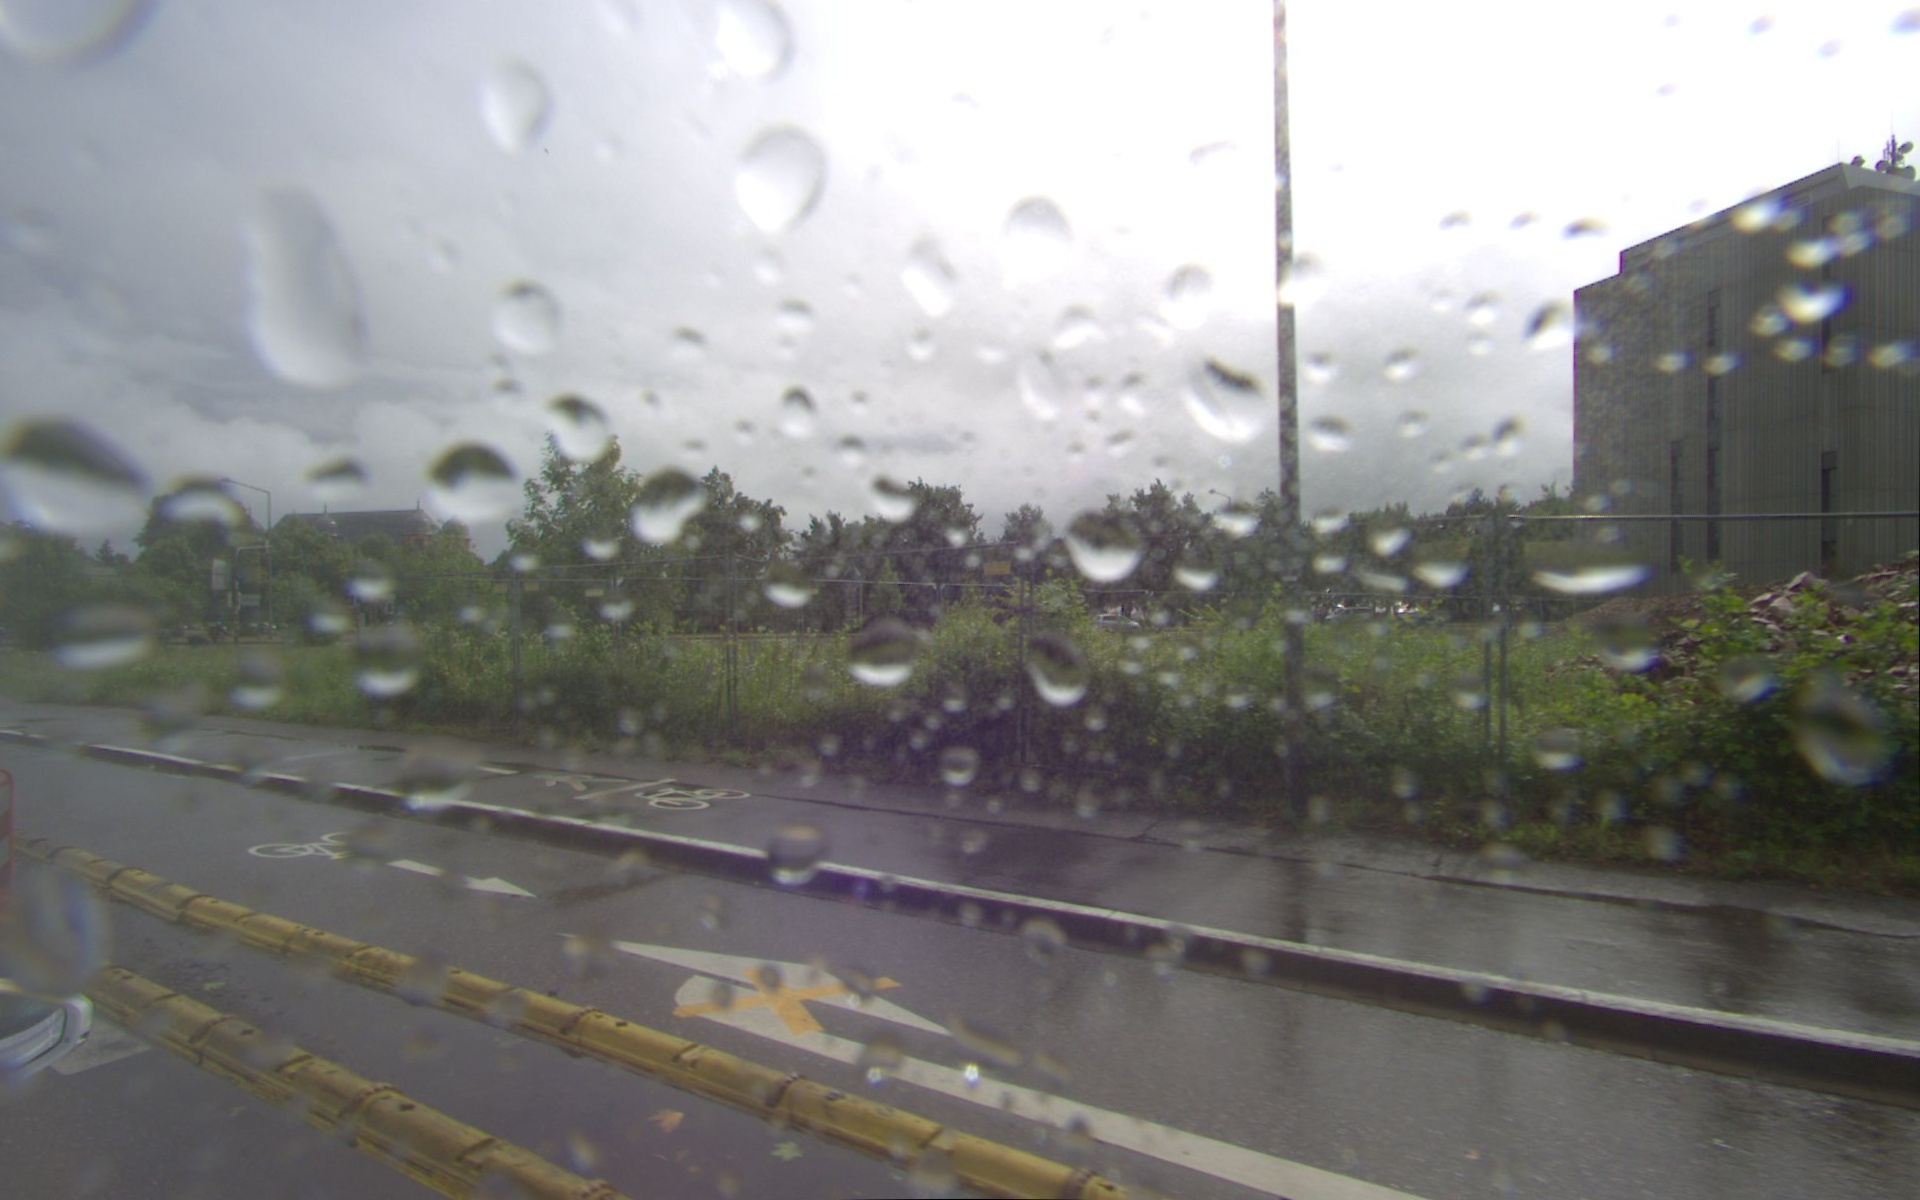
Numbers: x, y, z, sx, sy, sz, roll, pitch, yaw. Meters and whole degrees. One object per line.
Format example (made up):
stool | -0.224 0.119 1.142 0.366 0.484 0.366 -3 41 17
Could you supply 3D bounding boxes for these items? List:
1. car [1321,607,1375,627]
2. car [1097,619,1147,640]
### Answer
car | 38.576 1.664 99.607 4.873 1.944 1.997 0 0 -17
car | 12.372 2.225 76.514 3.464 1.567 1.629 0 0 -12
